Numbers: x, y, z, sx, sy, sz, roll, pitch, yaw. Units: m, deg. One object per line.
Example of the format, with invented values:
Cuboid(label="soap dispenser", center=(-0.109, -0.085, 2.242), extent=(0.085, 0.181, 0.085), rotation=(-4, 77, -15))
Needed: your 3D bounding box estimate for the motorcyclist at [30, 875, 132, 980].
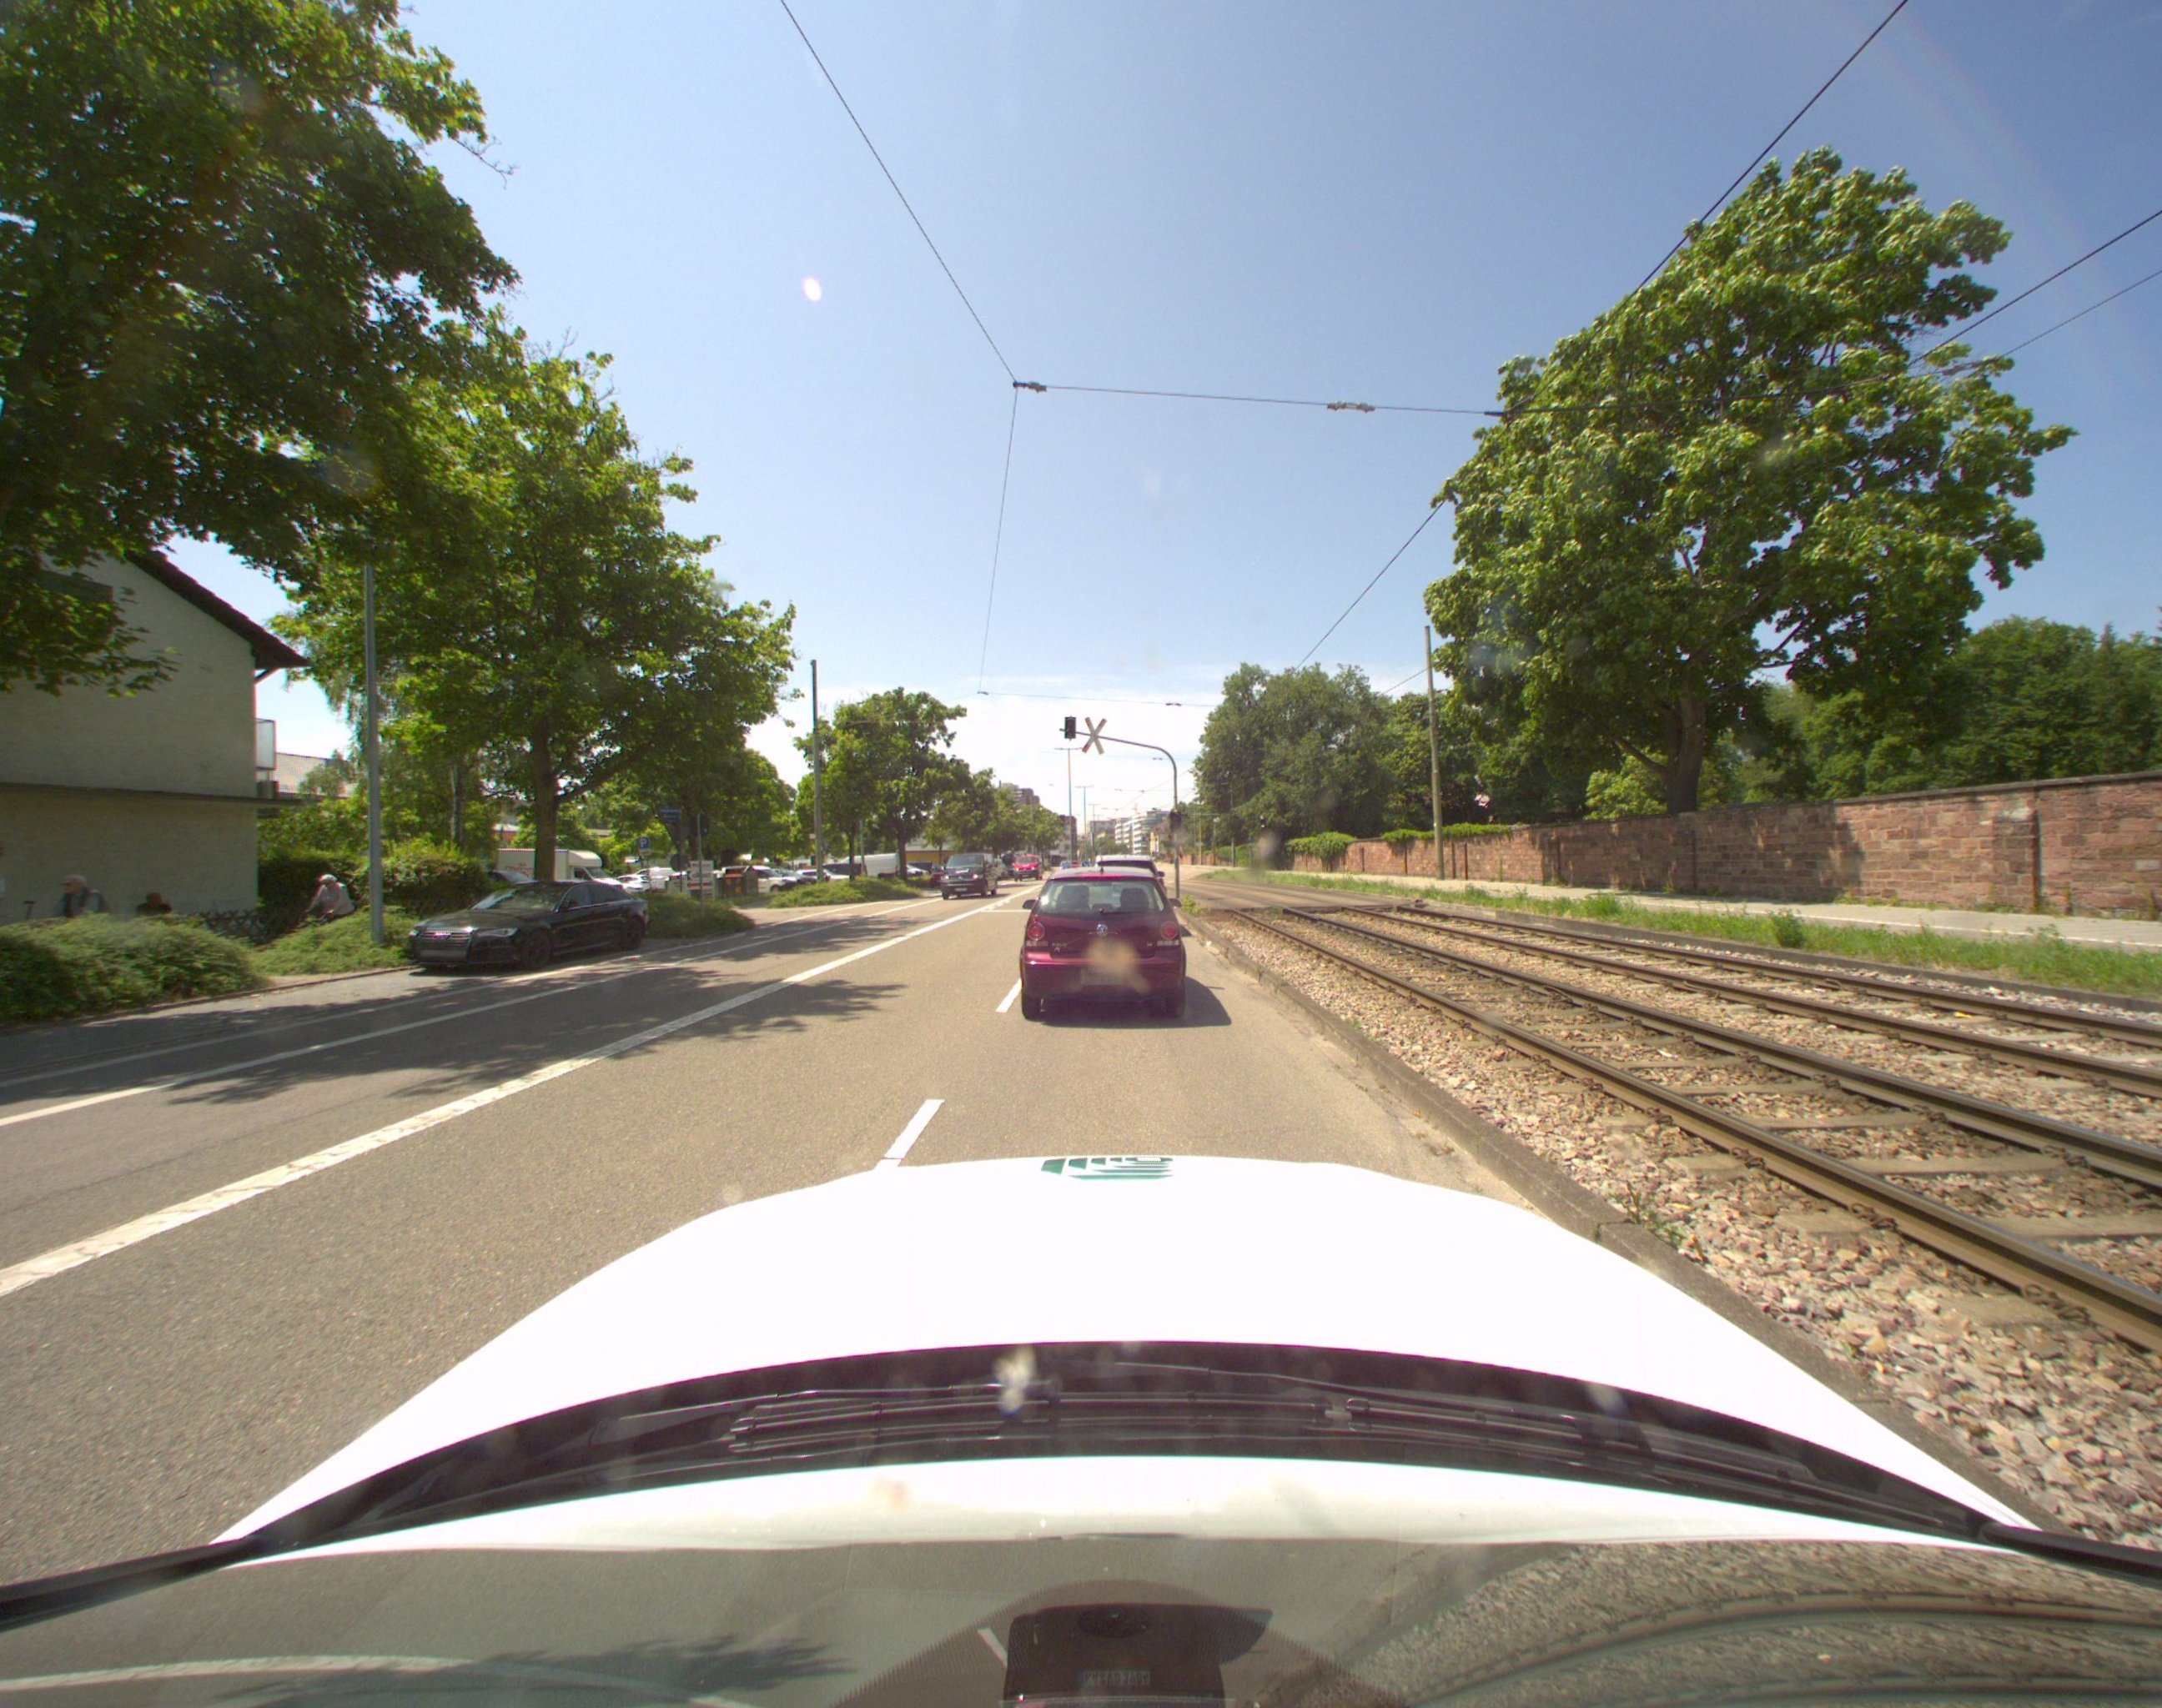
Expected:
Cuboid(label="motorcyclist", center=(-15.020, 1.074, 12.247), extent=(0.584, 1.503, 0.726), rotation=(1, 0, 3))

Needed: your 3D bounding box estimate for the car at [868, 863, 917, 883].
Cuboid(label="car", center=(-17.998, 1.791, 77.851), extent=(4.195, 1.765, 1.856), rotation=(-2, 0, 0))

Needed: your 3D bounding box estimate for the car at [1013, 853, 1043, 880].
Cuboid(label="car", center=(-4.059, 0.932, 63.068), extent=(1.892, 1.926, 4.819), rotation=(-3, 0, 0))

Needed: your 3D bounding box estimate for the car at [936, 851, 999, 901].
Cuboid(label="car", center=(-4.880, 0.908, 35.565), extent=(1.911, 1.910, 4.572), rotation=(-3, 0, 1))

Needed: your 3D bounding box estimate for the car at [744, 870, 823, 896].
Cuboid(label="car", center=(-18.592, 1.796, 51.061), extent=(4.185, 1.403, 2.079), rotation=(-2, 0, -3))

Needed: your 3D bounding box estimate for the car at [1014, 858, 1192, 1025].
Cuboid(label="car", center=(0.258, 0.802, 9.380), extent=(1.604, 1.498, 4.001), rotation=(-1, 0, 2))

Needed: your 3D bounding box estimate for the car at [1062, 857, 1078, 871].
Cuboid(label="car", center=(-1.403, 1.271, 103.126), extent=(1.731, 1.657, 4.068), rotation=(-3, -1, 2))

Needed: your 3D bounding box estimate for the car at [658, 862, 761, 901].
Cuboid(label="car", center=(-19.602, 1.453, 43.171), extent=(4.437, 1.857, 2.059), rotation=(-2, 0, -3))

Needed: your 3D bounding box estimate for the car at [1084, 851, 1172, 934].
Cuboid(label="car", center=(1.014, 0.805, 18.678), extent=(1.788, 1.683, 4.001), rotation=(-1, 0, 1))

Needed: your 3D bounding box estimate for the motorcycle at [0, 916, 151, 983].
Cuboid(label="motorcycle", center=(-15.021, 1.403, 12.200), extent=(0.524, 0.825, 1.372), rotation=(1, 0, 3))

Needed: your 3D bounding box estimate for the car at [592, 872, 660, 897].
Cuboid(label="car", center=(-31.943, 2.134, 57.233), extent=(3.733, 1.576, 1.733), rotation=(-1, 0, 1))

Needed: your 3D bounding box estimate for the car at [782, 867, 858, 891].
Cuboid(label="car", center=(-18.854, 1.799, 58.963), extent=(4.745, 1.488, 2.058), rotation=(-2, 0, 0))

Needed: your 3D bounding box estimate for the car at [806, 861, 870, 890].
Cuboid(label="car", center=(-18.354, 1.639, 61.688), extent=(4.195, 1.995, 1.856), rotation=(-2, 0, 0))

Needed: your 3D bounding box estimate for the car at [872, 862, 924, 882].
Cuboid(label="car", center=(-18.016, 1.786, 80.303), extent=(4.702, 1.813, 1.796), rotation=(-2, 0, 0))

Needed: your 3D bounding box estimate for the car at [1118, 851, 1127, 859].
Cuboid(label="car", center=(10.641, 0.199, 209.963), extent=(1.914, 1.910, 4.566), rotation=(-2, 0, -3))

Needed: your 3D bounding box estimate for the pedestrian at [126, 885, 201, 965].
Cuboid(label="pedestrian", center=(-18.004, 1.385, 15.988), extent=(0.789, 1.510, 0.609), rotation=(-2, -1, 8))

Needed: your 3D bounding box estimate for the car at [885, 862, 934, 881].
Cuboid(label="car", center=(-18.032, 1.818, 85.868), extent=(4.702, 1.813, 1.796), rotation=(-2, 0, 0))

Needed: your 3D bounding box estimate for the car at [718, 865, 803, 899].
Cuboid(label="car", center=(-18.804, 1.635, 47.850), extent=(4.248, 1.835, 1.675), rotation=(-2, 0, 4))

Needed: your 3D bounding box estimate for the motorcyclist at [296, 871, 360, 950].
Cuboid(label="motorcyclist", center=(-14.815, 1.103, 16.038), extent=(0.584, 1.503, 0.663), rotation=(1, 0, 3))

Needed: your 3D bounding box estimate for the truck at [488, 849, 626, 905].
Cuboid(label="truck", center=(-31.795, 1.380, 49.552), extent=(6.954, 3.227, 2.150), rotation=(-1, 0, 0))

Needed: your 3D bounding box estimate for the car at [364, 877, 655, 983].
Cuboid(label="car", center=(-9.894, 1.217, 14.712), extent=(1.888, 1.456, 4.808), rotation=(-1, 0, -1))

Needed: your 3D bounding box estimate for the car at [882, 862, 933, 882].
Cuboid(label="car", center=(-17.747, 1.824, 83.301), extent=(4.702, 1.813, 1.796), rotation=(-2, 0, 0))

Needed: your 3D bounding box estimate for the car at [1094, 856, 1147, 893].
Cuboid(label="car", center=(1.922, 0.936, 38.651), extent=(1.762, 1.631, 4.014), rotation=(-1, 0, 13))

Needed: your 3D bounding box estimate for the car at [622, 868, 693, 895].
Cuboid(label="car", center=(-31.042, 2.002, 59.738), extent=(4.113, 1.820, 1.971), rotation=(-1, -1, 1))

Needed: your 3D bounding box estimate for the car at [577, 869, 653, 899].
Cuboid(label="car", center=(-31.151, 1.997, 54.473), extent=(4.113, 1.820, 1.647), rotation=(-1, 0, 1))

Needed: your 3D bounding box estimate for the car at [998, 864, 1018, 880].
Cuboid(label="car", center=(-7.084, 1.749, 79.402), extent=(1.399, 1.440, 3.841), rotation=(2, 0, 2))

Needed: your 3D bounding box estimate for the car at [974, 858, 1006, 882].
Cuboid(label="car", center=(-7.754, 1.348, 69.836), extent=(1.854, 1.937, 4.811), rotation=(2, 0, 4))

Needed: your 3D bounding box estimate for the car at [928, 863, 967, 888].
Cuboid(label="car", center=(-8.570, 1.338, 52.477), extent=(1.664, 1.546, 3.731), rotation=(-1, -1, 4))

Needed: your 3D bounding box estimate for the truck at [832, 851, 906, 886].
Cuboid(label="truck", center=(-18.122, 1.256, 69.682), extent=(5.555, 2.759, 2.434), rotation=(-2, 0, 2))
